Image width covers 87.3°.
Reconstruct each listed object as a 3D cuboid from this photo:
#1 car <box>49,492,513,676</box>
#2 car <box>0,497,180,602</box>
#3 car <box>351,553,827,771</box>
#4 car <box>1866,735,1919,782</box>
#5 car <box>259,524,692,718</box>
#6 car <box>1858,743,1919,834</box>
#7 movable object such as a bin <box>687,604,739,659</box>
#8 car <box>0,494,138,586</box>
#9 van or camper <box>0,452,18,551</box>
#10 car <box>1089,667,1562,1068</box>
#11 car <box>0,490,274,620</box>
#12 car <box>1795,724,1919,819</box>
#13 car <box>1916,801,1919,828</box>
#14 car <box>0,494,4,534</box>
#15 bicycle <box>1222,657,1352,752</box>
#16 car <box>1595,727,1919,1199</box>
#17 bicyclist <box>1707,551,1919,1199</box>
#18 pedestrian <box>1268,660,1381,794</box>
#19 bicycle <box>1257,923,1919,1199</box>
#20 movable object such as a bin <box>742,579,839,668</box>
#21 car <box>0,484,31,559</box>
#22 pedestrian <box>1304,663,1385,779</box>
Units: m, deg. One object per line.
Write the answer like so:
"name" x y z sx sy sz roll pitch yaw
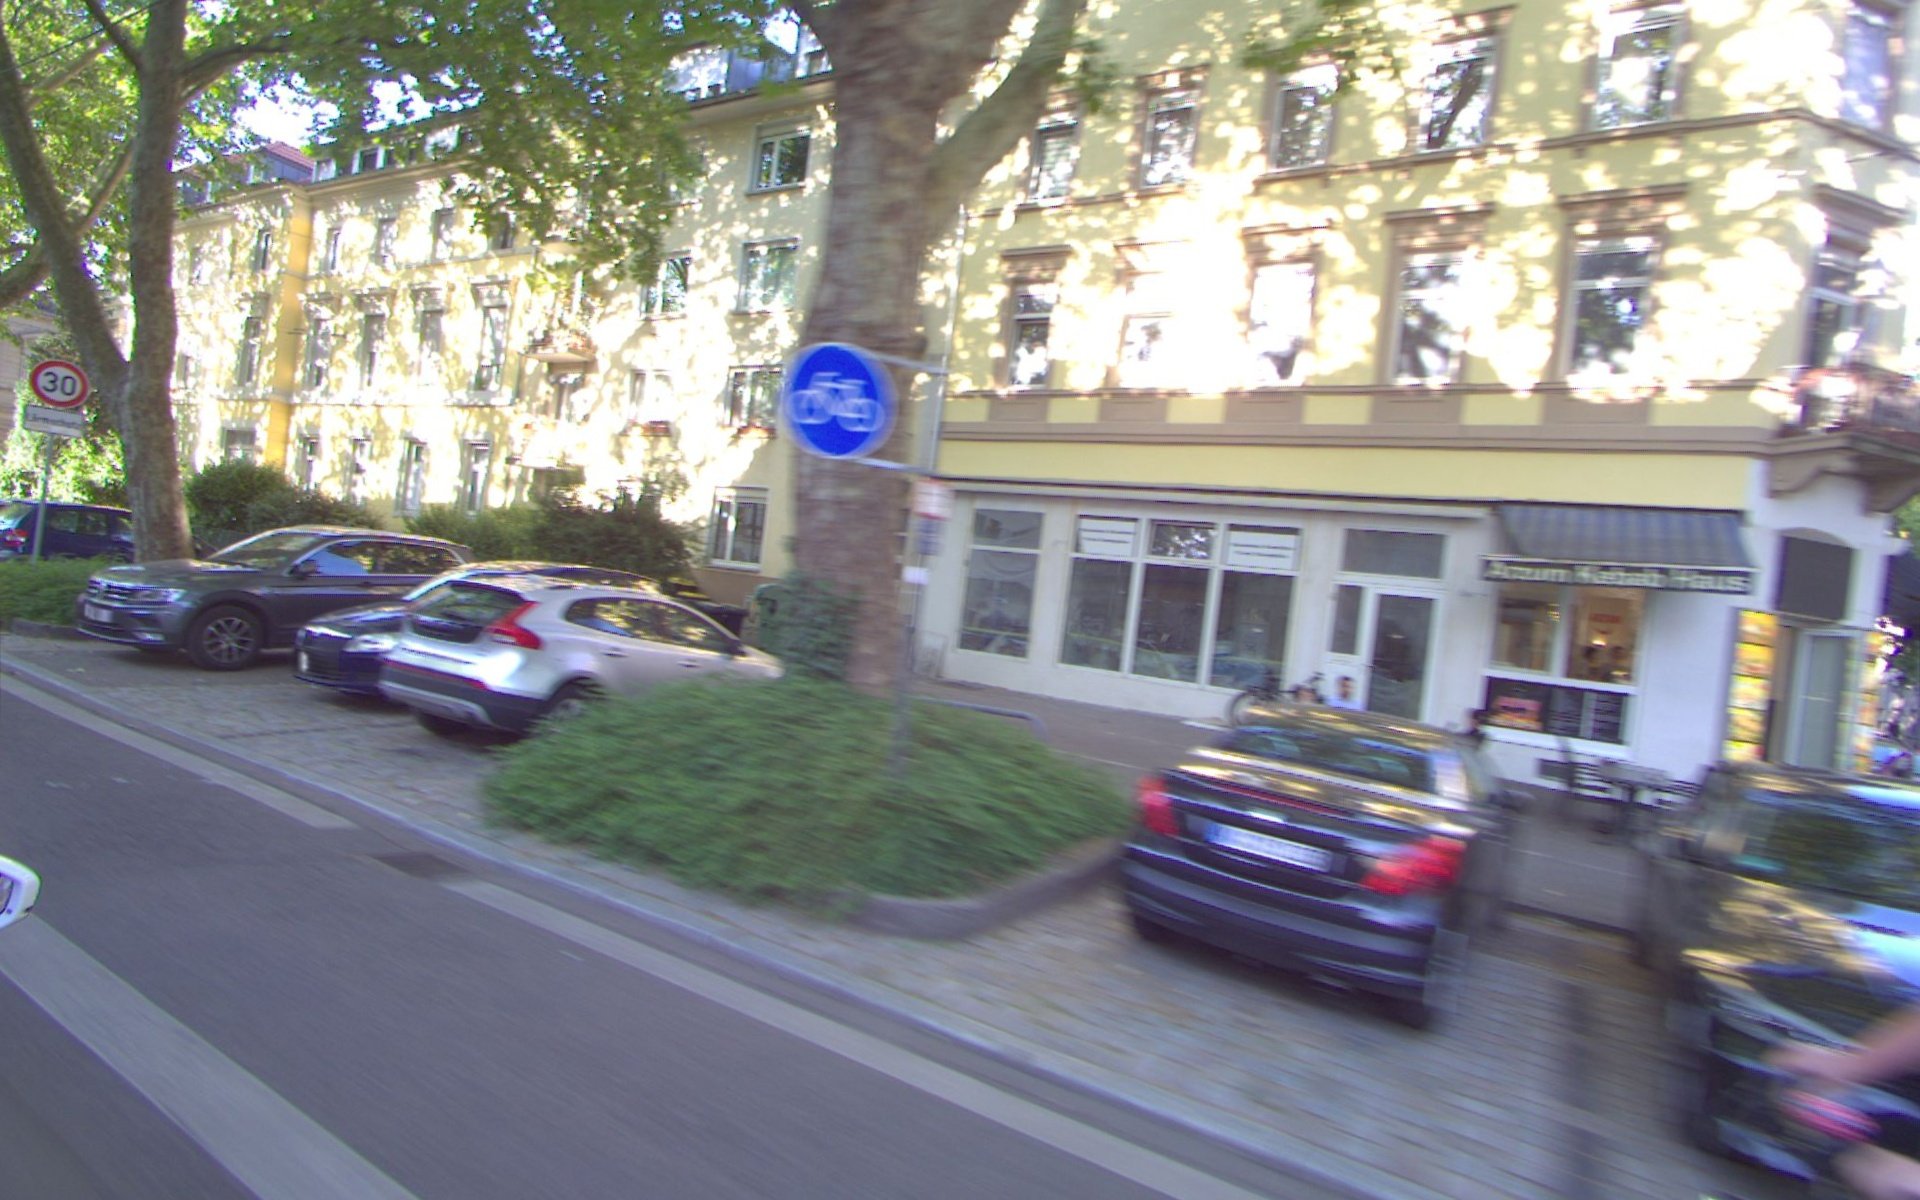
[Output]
"car" -7.979 -0.119 12.293 1.817 1.741 4.266 7 1 29
"car" -15.744 -0.914 17.015 1.666 1.536 3.598 7 0 32
"car" -3.241 0.581 9.627 1.653 1.498 4.034 7 0 30
"car" 36.879 6.174 39.122 1.825 1.548 3.861 3 -3 34
"car" -5.138 0.300 11.266 1.653 1.663 4.034 7 0 30
"car" 18.799 3.701 19.295 1.627 1.507 3.413 9 0 33
"movable object such as a bin" -4.633 0.592 18.880 0.458 0.955 0.748 7 1 32
"car" -18.173 -1.217 19.025 1.665 1.543 3.672 7 1 32
"van or camper" -27.368 -2.839 24.599 2.249 2.551 5.822 8 1 30
"car" 2.616 1.367 6.448 1.655 1.509 4.098 7 -1 36
"car" -13.440 -0.667 16.147 1.516 1.618 3.600 6 -1 32
"car" 20.925 3.895 23.373 1.627 1.678 4.137 9 0 33
"car" 16.414 3.055 15.359 1.663 1.635 3.683 9 0 31
"car" -25.585 -2.064 23.919 1.640 1.549 3.740 7 0 29
"bicycle" 5.006 1.582 15.446 1.717 1.171 0.470 7 2 32
"car" 4.261 1.546 4.708 1.800 1.509 4.105 7 -1 29
"bicyclist" 1.733 0.796 1.461 0.920 1.567 0.616 7 -5 32
"pedestrian" 4.249 1.462 11.781 0.481 1.392 1.049 7 0 -27
"bicycle" 1.705 1.325 1.388 2.470 1.015 0.597 7 -3 32
"movable object such as a bin" -3.046 0.436 18.150 1.099 1.456 1.168 7 1 32
"car" -23.536 -1.965 22.368 1.737 1.669 3.823 5 0 29
"pedestrian" 4.840 1.514 12.691 0.480 1.344 0.683 7 0 -21
